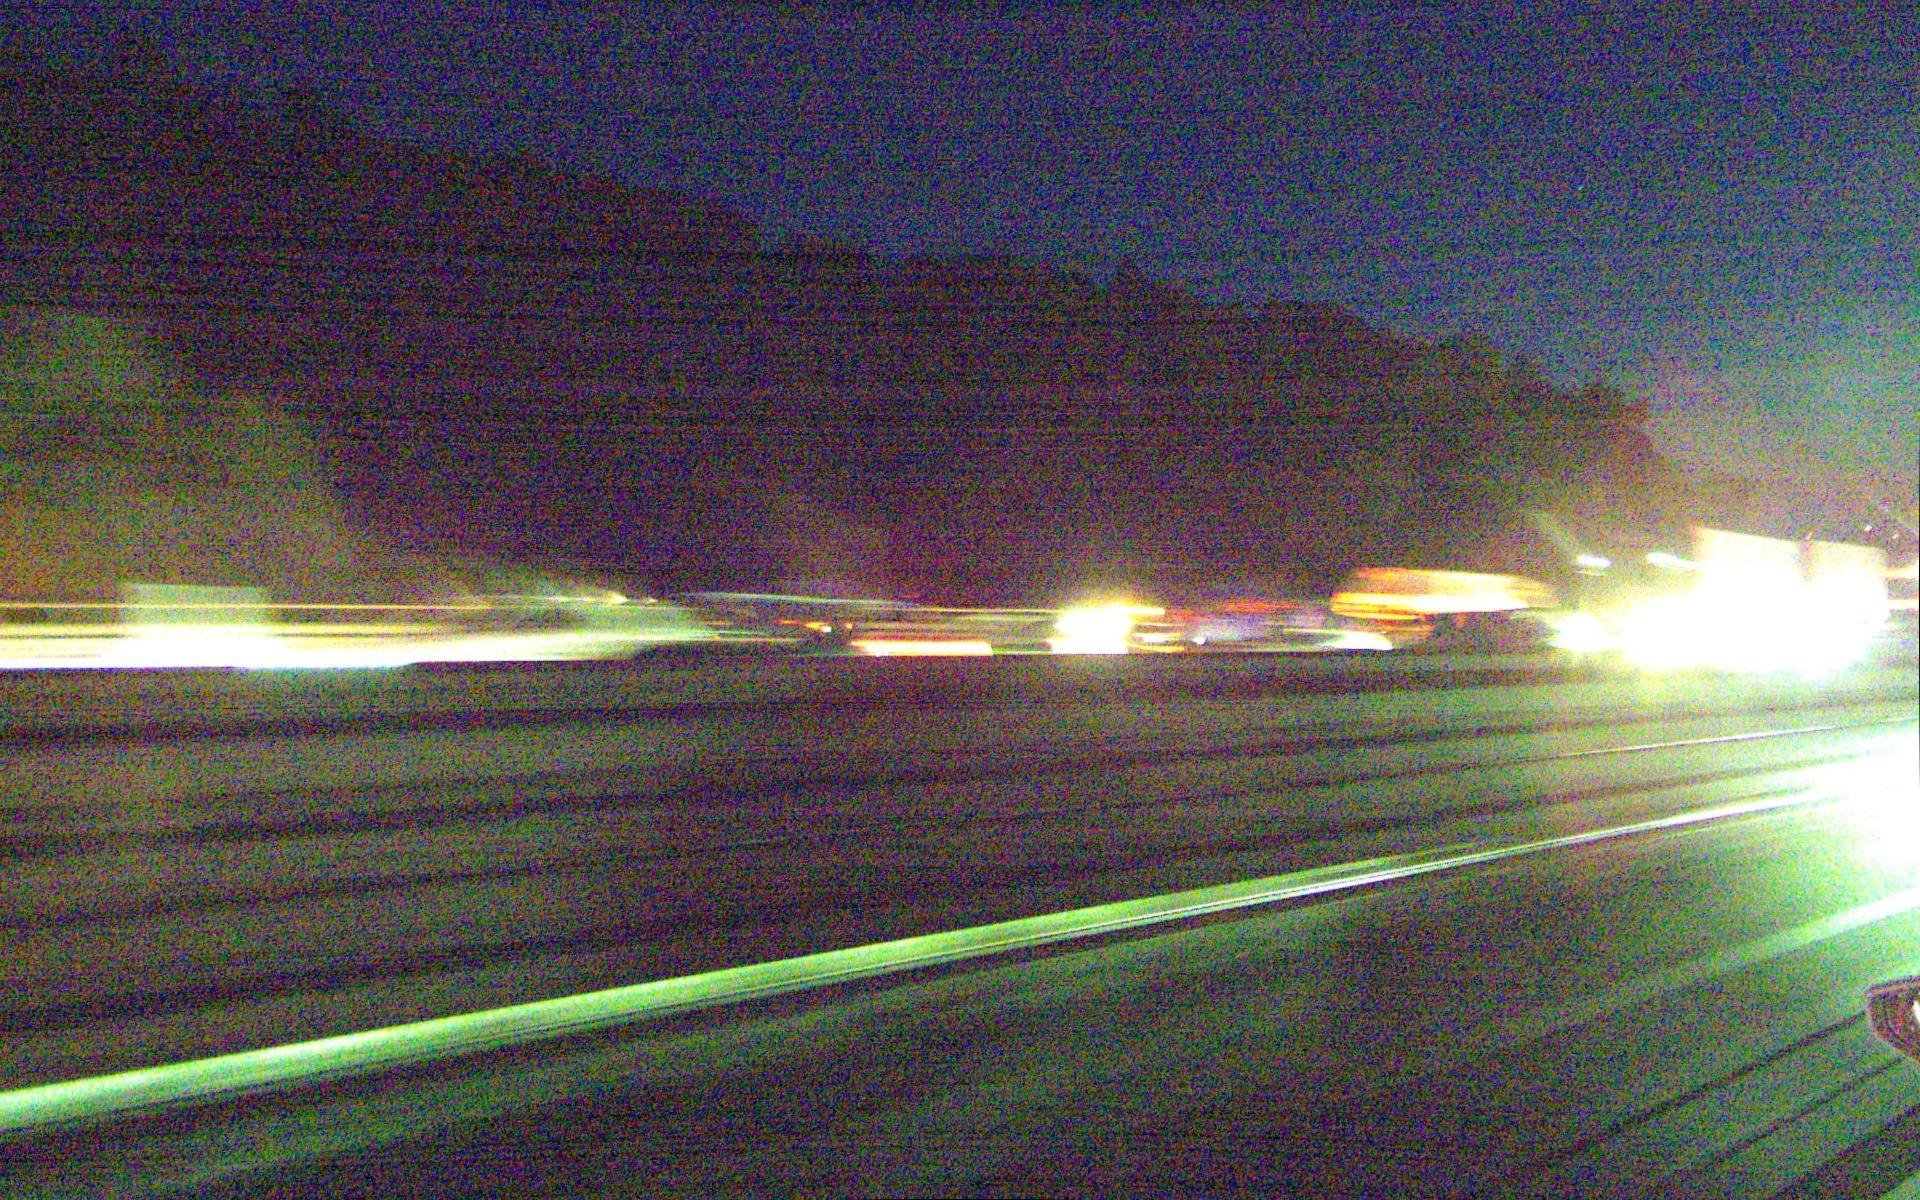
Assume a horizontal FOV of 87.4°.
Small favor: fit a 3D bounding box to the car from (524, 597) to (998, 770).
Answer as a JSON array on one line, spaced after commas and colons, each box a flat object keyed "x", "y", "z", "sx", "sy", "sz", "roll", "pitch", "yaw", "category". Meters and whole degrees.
[{"x": -2.074, "y": 0.802, "z": 10.965, "sx": 4.796, "sy": 1.550, "sz": 1.700, "roll": 1, "pitch": -1, "yaw": -29, "category": "car"}]

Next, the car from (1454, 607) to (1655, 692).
[{"x": 12.080, "y": 1.031, "z": 20.351, "sx": 4.305, "sy": 1.543, "sz": 1.886, "roll": 3, "pitch": -4, "yaw": -35, "category": "car"}]

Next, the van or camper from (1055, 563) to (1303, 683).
[{"x": 5.585, "y": 0.572, "z": 25.093, "sx": 6.543, "sy": 2.692, "sz": 1.983, "roll": 1, "pitch": -1, "yaw": -32, "category": "van or camper"}]

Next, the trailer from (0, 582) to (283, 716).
[{"x": -13.388, "y": 0.641, "z": 13.876, "sx": 6.466, "sy": 1.749, "sz": 2.246, "roll": 2, "pitch": -1, "yaw": -30, "category": "trailer"}]

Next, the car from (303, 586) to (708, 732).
[{"x": -6.026, "y": 0.785, "z": 13.611, "sx": 4.684, "sy": 1.675, "sz": 1.916, "roll": 3, "pitch": -2, "yaw": -32, "category": "car"}]

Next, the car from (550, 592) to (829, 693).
[{"x": -4.984, "y": 0.808, "z": 18.741, "sx": 4.684, "sy": 1.675, "sz": 1.800, "roll": 3, "pitch": -2, "yaw": -32, "category": "car"}]

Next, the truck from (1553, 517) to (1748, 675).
[{"x": 20.667, "y": -0.040, "z": 29.977, "sx": 6.044, "sy": 4.266, "sz": 2.847, "roll": 1, "pitch": -1, "yaw": -35, "category": "truck"}]

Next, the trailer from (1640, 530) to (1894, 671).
[{"x": 28.812, "y": 0.098, "z": 35.432, "sx": 14.370, "sy": 4.240, "sz": 2.858, "roll": 1, "pitch": 0, "yaw": -34, "category": "trailer"}]

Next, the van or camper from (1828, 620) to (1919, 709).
[{"x": 18.105, "y": 1.162, "z": 18.513, "sx": 4.810, "sy": 1.485, "sz": 1.731, "roll": 2, "pitch": -1, "yaw": -30, "category": "van or camper"}]

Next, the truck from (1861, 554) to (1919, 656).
[{"x": 42.787, "y": 0.263, "z": 44.815, "sx": 5.898, "sy": 4.326, "sz": 2.599, "roll": 1, "pitch": -1, "yaw": -35, "category": "truck"}]

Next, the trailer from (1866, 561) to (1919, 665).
[{"x": 48.008, "y": 0.701, "z": 48.708, "sx": 14.382, "sy": 4.521, "sz": 2.822, "roll": 1, "pitch": -5, "yaw": -36, "category": "trailer"}]

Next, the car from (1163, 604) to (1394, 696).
[{"x": 6.686, "y": 0.981, "z": 20.888, "sx": 5.026, "sy": 1.699, "sz": 1.874, "roll": 1, "pitch": -1, "yaw": -34, "category": "car"}]

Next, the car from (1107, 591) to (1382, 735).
[{"x": 4.399, "y": 0.930, "z": 15.351, "sx": 4.067, "sy": 1.875, "sz": 1.666, "roll": 3, "pitch": 2, "yaw": -33, "category": "car"}]

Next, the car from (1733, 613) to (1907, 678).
[{"x": 21.990, "y": 1.130, "z": 25.641, "sx": 4.879, "sy": 1.512, "sz": 1.895, "roll": 2, "pitch": -1, "yaw": -30, "category": "car"}]

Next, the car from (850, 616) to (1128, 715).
[{"x": 0.523, "y": 1.016, "z": 16.650, "sx": 4.301, "sy": 1.406, "sz": 1.888, "roll": 0, "pitch": -2, "yaw": -32, "category": "car"}]

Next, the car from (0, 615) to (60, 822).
[{"x": -8.538, "y": 0.834, "z": 6.663, "sx": 3.435, "sy": 1.483, "sz": 1.694, "roll": 1, "pitch": -1, "yaw": -25, "category": "car"}]

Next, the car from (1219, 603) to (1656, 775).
[{"x": 5.246, "y": 0.840, "z": 10.859, "sx": 4.810, "sy": 1.512, "sz": 1.895, "roll": 2, "pitch": -1, "yaw": -30, "category": "car"}]

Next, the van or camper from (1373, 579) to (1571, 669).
[{"x": 16.710, "y": 0.763, "z": 32.637, "sx": 7.034, "sy": 2.627, "sz": 2.568, "roll": 1, "pitch": -1, "yaw": -33, "category": "van or camper"}]

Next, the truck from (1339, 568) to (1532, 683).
[{"x": 11.455, "y": 0.601, "z": 24.071, "sx": 5.000, "sy": 2.491, "sz": 1.981, "roll": 1, "pitch": -1, "yaw": -35, "category": "truck"}]
